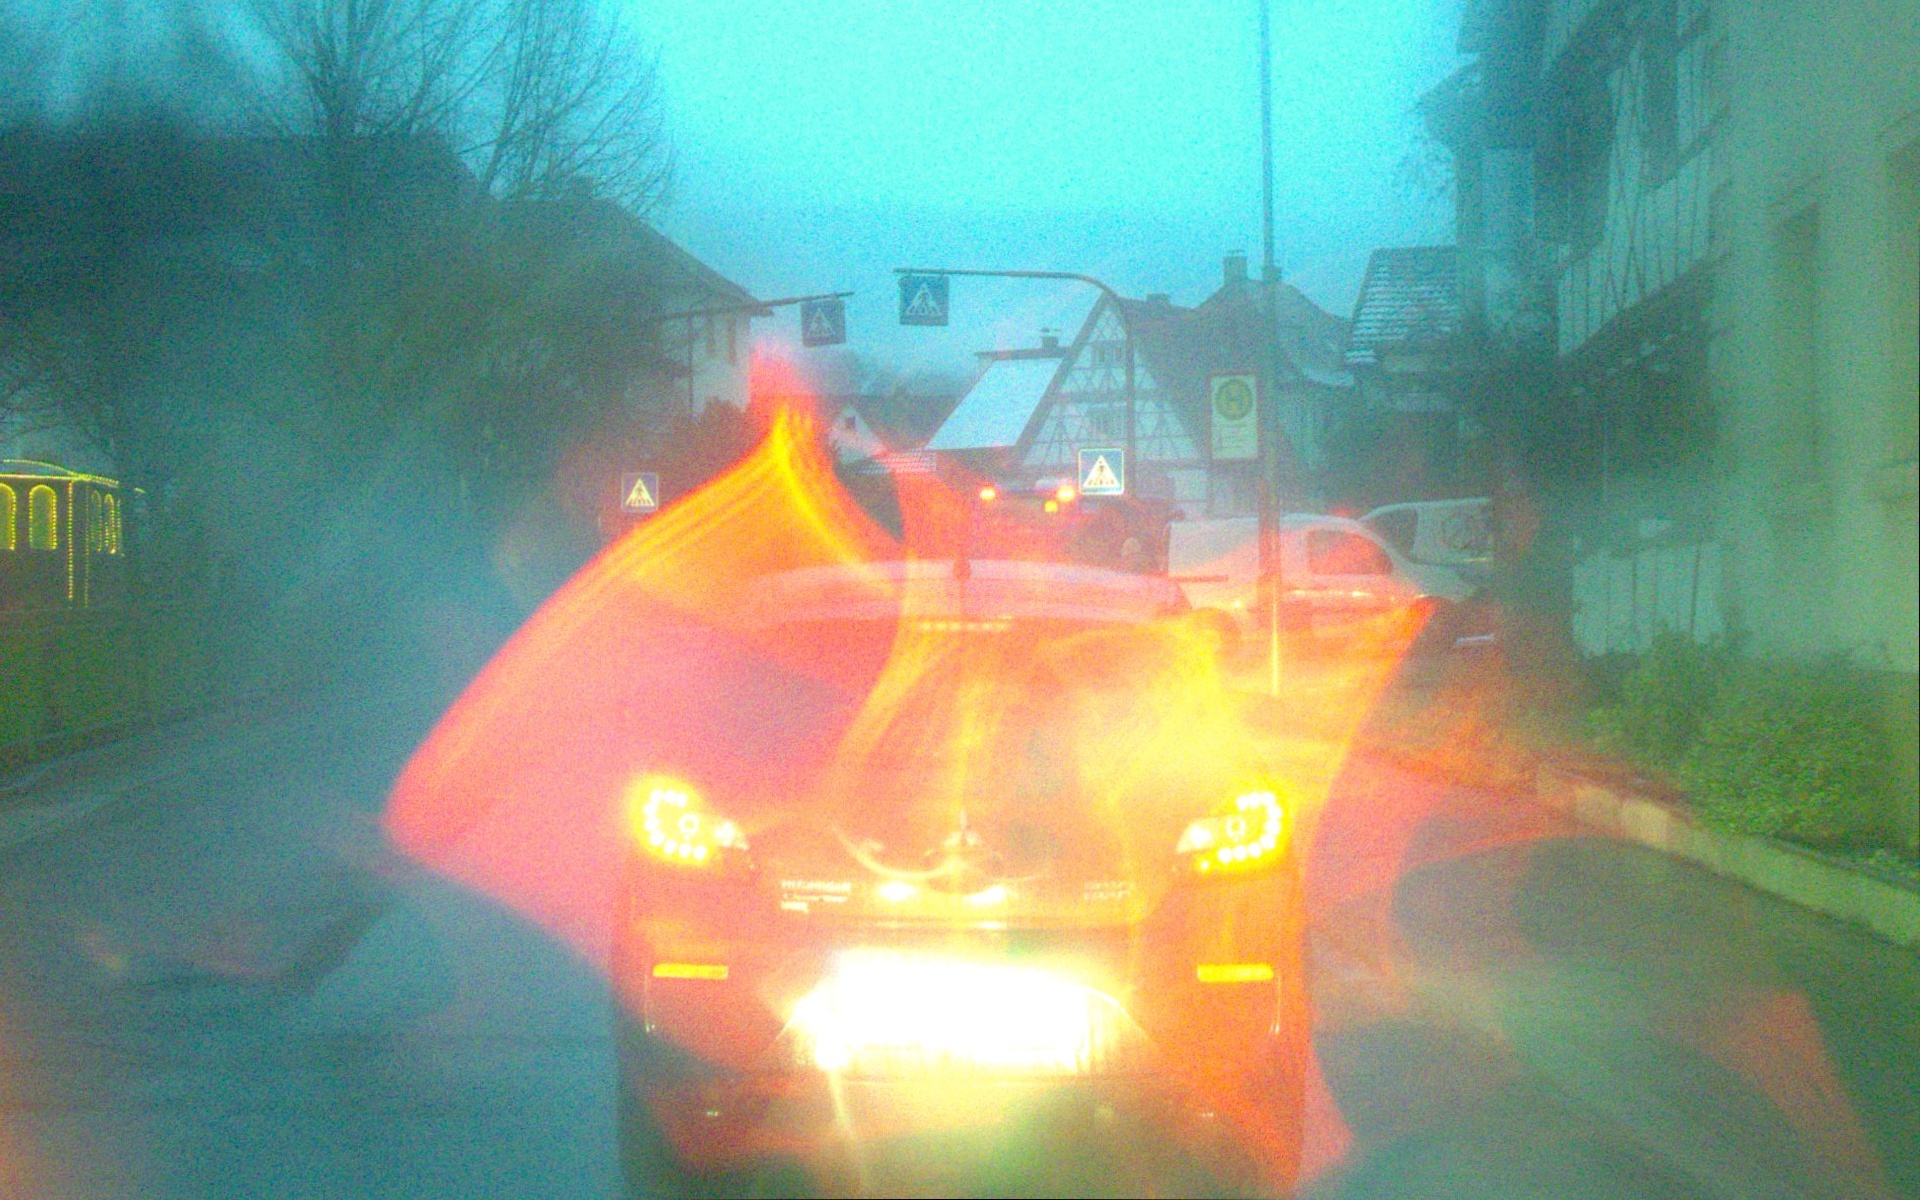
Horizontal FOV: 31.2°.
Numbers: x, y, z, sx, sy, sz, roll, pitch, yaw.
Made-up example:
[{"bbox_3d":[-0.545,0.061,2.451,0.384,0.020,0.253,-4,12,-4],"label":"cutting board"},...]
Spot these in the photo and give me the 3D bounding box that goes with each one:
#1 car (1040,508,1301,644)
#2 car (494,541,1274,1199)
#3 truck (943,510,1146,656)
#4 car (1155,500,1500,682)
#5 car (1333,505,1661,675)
[{"bbox_3d":[3.428,-0.394,55.567,4.098,2.144,1.913,0,1,7],"label":"car"},{"bbox_3d":[-0.175,0.612,8.990,1.638,1.476,3.379,1,0,0],"label":"car"},{"bbox_3d":[2.032,-0.414,78.255,3.017,3.118,7.995,1,1,13],"label":"truck"},{"bbox_3d":[4.503,-0.131,42.137,4.098,2.155,1.913,0,1,7],"label":"car"},{"bbox_3d":[6.906,-0.146,44.526,4.098,2.144,1.913,0,1,7],"label":"car"}]
